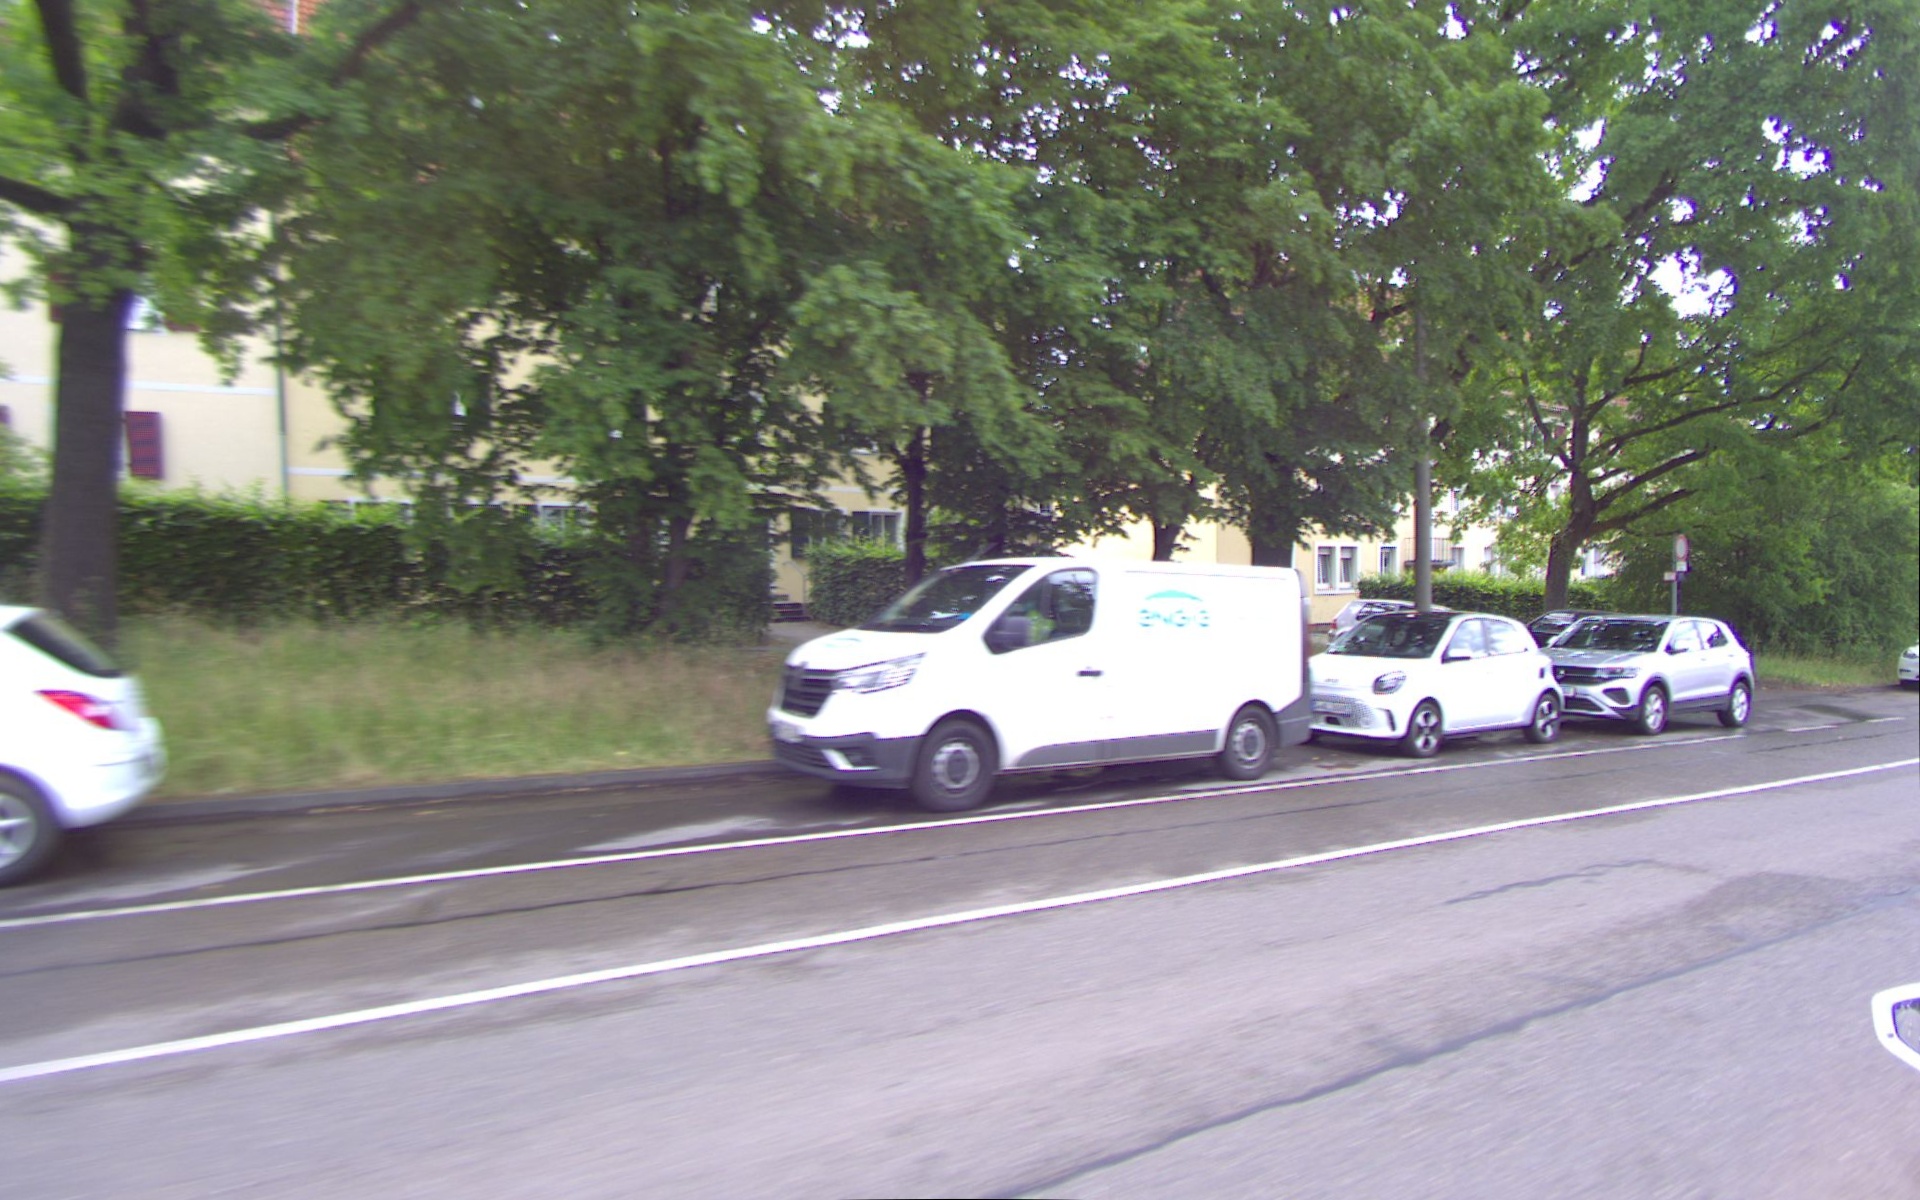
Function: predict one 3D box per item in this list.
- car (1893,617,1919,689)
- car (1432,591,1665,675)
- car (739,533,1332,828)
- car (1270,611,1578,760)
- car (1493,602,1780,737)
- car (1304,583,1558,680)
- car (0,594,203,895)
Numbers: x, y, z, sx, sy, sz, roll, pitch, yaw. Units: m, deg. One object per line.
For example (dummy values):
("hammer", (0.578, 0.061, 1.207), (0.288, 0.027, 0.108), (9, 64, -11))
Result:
("car", (23.506, 1.233, 23.119), (4.705, 1.594, 1.758), (1, -1, -31))
("car", (13.850, 0.717, 23.934), (1.863, 1.474, 4.413), (1, 4, -27))
("car", (0.807, 0.573, 8.856), (5.067, 1.990, 1.857), (1, 0, -31))
("car", (5.549, 0.905, 11.897), (3.679, 1.501, 1.572), (1, 0, -32))
("car", (9.636, 0.891, 14.252), (4.109, 1.655, 1.758), (1, 0, -30))
("car", (9.622, 0.559, 20.894), (1.850, 1.470, 4.404), (1, 5, -34))
("car", (-6.423, 0.699, 5.008), (4.044, 1.498, 1.653), (1, 0, -32))
